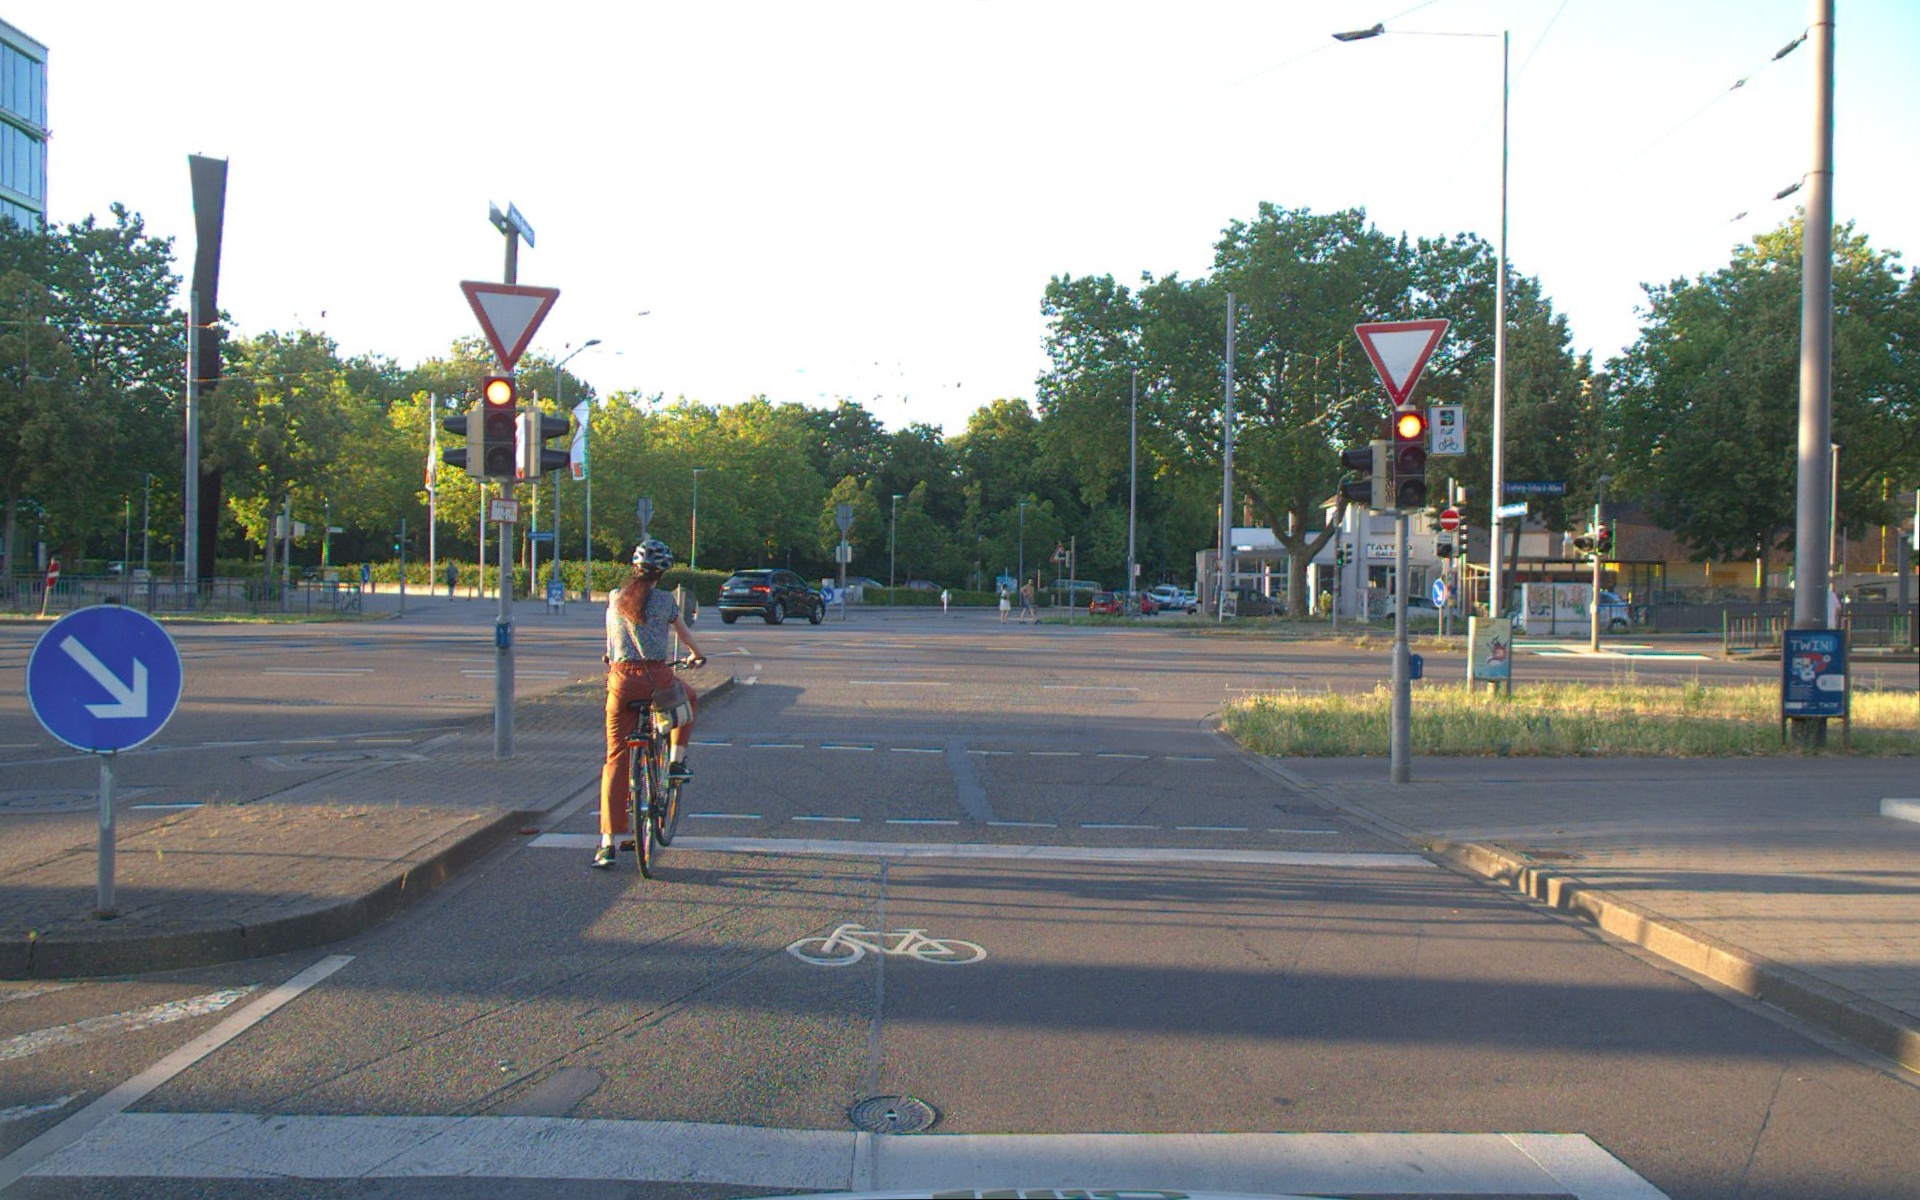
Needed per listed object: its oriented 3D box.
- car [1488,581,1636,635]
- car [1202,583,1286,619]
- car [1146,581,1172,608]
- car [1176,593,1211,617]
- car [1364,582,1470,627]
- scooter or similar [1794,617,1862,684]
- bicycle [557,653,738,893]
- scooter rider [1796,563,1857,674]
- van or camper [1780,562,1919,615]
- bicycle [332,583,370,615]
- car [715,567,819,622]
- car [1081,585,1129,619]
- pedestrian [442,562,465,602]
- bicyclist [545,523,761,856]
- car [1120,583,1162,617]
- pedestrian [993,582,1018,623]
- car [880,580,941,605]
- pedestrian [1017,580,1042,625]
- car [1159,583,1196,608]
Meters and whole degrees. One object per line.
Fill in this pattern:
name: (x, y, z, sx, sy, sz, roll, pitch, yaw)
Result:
car: (20.801, 0.264, 57.247, 4.445, 1.758, 1.860, 1, 0, -5)
car: (15.304, 0.041, 89.205, 4.285, 1.867, 1.950, 1, 1, 4)
car: (15.796, -0.439, 131.430, 1.951, 2.049, 4.003, 1, 1, 6)
car: (16.346, 0.319, 115.646, 1.875, 1.630, 4.002, 1, 1, 17)
car: (20.078, 0.182, 72.788, 4.142, 1.878, 2.001, 1, 0, 2)
scooter or similar: (14.975, 0.858, 28.567, 0.499, 1.109, 1.243, 1, 0, -1)
bicycle: (-1.685, 0.891, 9.225, 0.621, 1.086, 2.122, 1, 1, -1)
scooter rider: (14.985, 0.318, 28.615, 0.688, 1.887, 0.669, 1, -1, -1)
van or camper: (43.635, -0.565, 80.348, 6.426, 2.452, 2.265, 1, 0, 3)
bicycle: (-23.062, -0.059, 62.699, 0.685, 1.156, 2.391, 1, 1, -3)
car: (-5.726, -0.125, 49.629, 1.718, 1.568, 4.404, 1, -1, 12)
car: (8.434, 0.104, 95.836, 1.829, 1.907, 3.875, 1, 1, 20)
pedestrian: (-22.784, -0.801, 74.344, 0.884, 1.785, 0.715, 1, 0, -26)
bicyclist: (-1.683, 0.471, 9.238, 1.011, 1.748, 0.996, 1, 0, -1)
car: (11.359, -0.028, 103.495, 1.875, 2.083, 4.002, 1, 1, 17)
pedestrian: (1.867, 0.111, 67.974, 0.704, 1.667, 0.897, 1, 0, 23)
car: (-3.254, -0.517, 109.449, 3.905, 1.588, 2.000, 1, 0, 1)
pedestrian: (2.825, 0.097, 67.211, 0.704, 1.785, 0.897, 1, 0, 23)
car: (17.895, -0.383, 136.116, 1.953, 2.049, 3.998, 1, 1, 24)
